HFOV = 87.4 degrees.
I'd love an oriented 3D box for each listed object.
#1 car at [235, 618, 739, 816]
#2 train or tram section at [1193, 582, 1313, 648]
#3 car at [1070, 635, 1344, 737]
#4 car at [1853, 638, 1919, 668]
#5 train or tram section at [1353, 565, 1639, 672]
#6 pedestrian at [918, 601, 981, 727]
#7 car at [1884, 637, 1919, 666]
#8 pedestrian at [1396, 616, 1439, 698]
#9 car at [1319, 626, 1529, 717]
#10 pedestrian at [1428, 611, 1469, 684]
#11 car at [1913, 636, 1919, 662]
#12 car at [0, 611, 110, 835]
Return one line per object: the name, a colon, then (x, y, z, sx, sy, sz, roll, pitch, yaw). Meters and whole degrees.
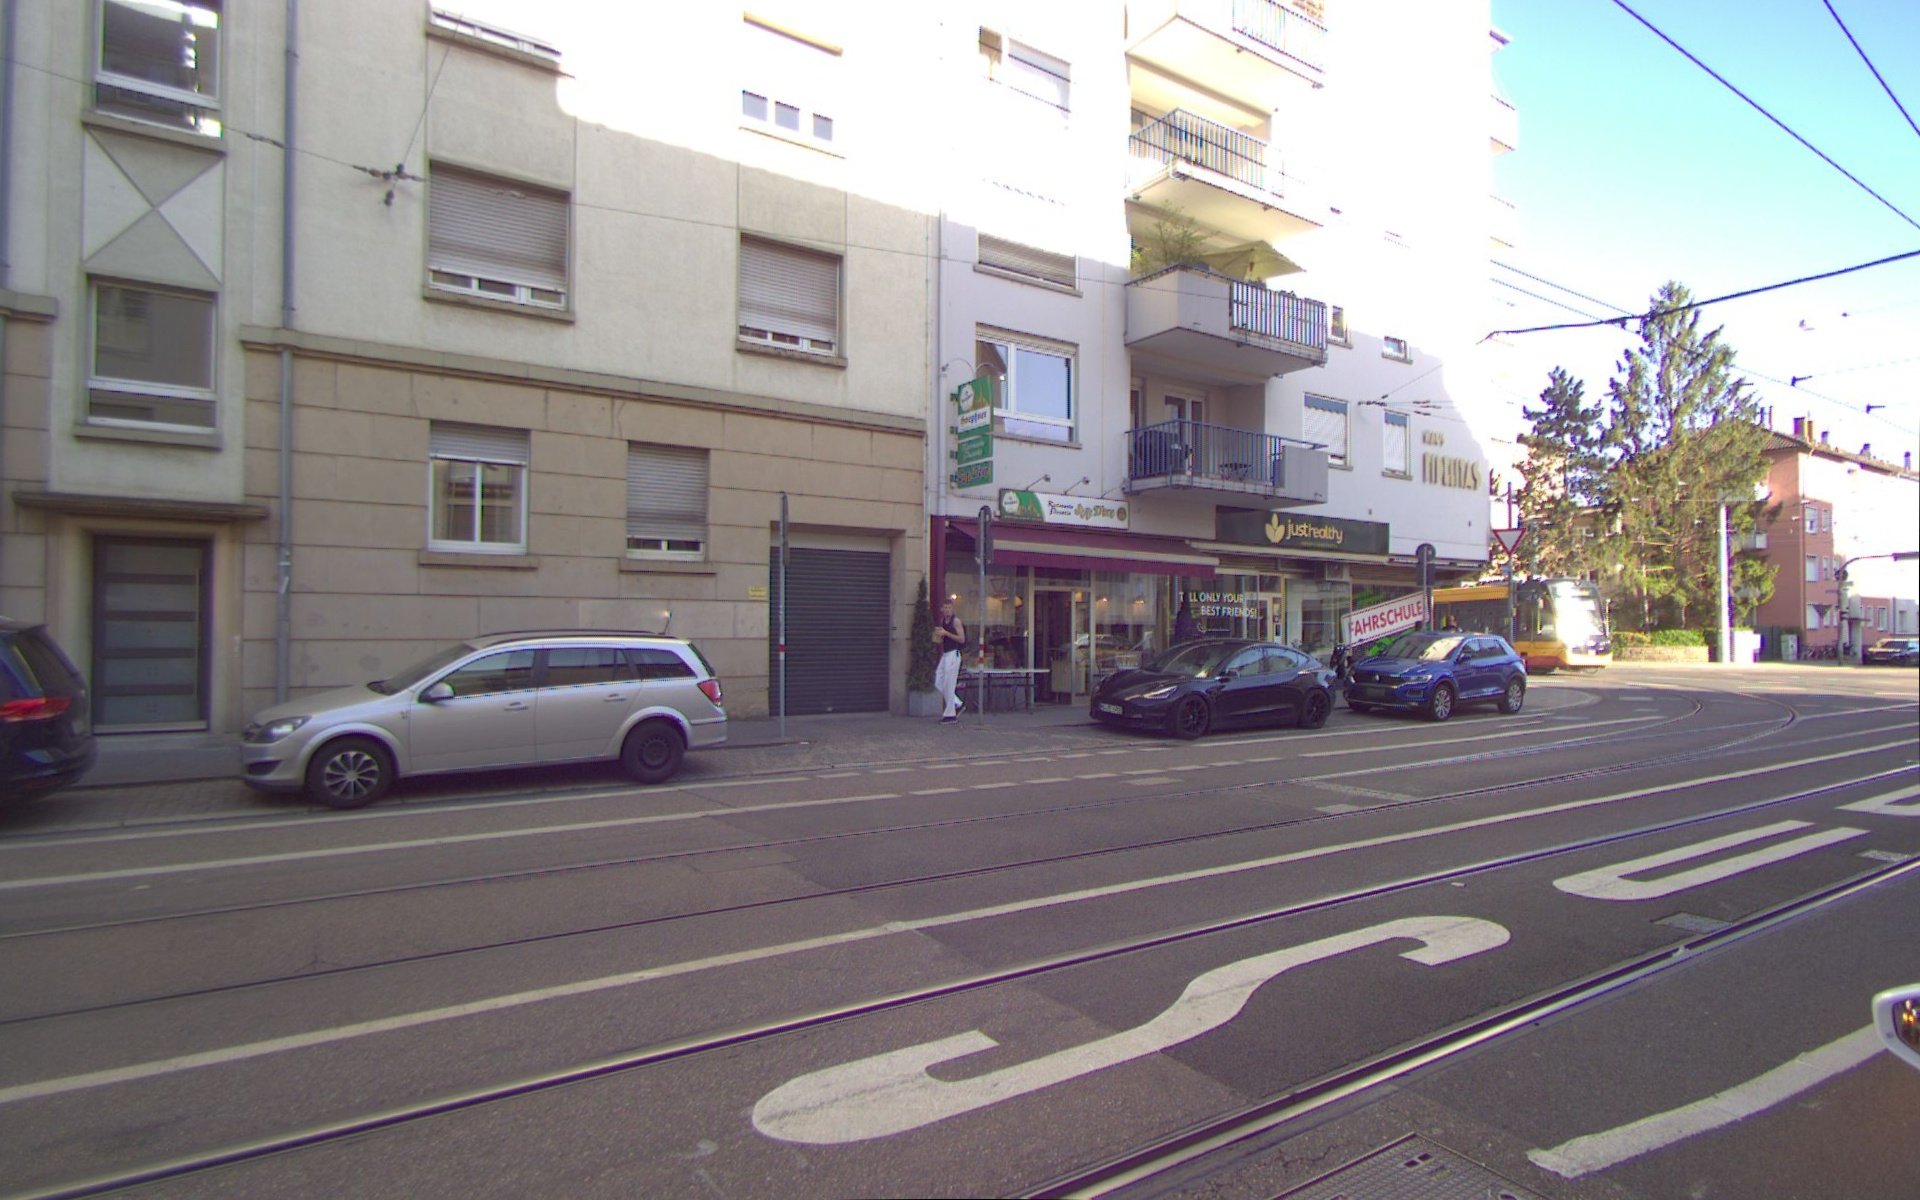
car: (-4.702, 1.040, 10.319, 4.319, 1.580, 1.981, 2, 0, -34)
train or tram section: (18.528, 0.883, 64.948, 2.701, 3.680, 14.257, 2, 0, -3)
car: (4.017, 1.276, 16.075, 4.382, 1.405, 1.810, 1, -2, -34)
car: (49.611, 2.827, 53.623, 3.949, 1.440, 1.784, 2, 0, -31)
train or tram section: (20.940, 0.838, 40.821, 3.018, 3.641, 12.607, 1, -2, -11)
pedestrian: (-0.163, 0.962, 15.377, 0.725, 1.857, 0.595, 2, 0, -30)
car: (54.358, 2.916, 56.892, 4.250, 1.518, 1.806, 2, 0, -30)
pedestrian: (10.470, 1.288, 22.996, 0.691, 1.829, 0.568, 2, 0, -30)
car: (8.891, 1.288, 19.153, 4.030, 1.552, 1.858, 1, -2, -34)
pedestrian: (13.968, 1.344, 28.723, 0.688, 2.040, 0.764, 2, 0, -35)
car: (58.247, 2.957, 59.359, 4.103, 1.531, 1.778, 2, 0, -31)
car: (-9.036, 0.874, 7.208, 4.249, 1.606, 1.893, 2, 0, -35)
